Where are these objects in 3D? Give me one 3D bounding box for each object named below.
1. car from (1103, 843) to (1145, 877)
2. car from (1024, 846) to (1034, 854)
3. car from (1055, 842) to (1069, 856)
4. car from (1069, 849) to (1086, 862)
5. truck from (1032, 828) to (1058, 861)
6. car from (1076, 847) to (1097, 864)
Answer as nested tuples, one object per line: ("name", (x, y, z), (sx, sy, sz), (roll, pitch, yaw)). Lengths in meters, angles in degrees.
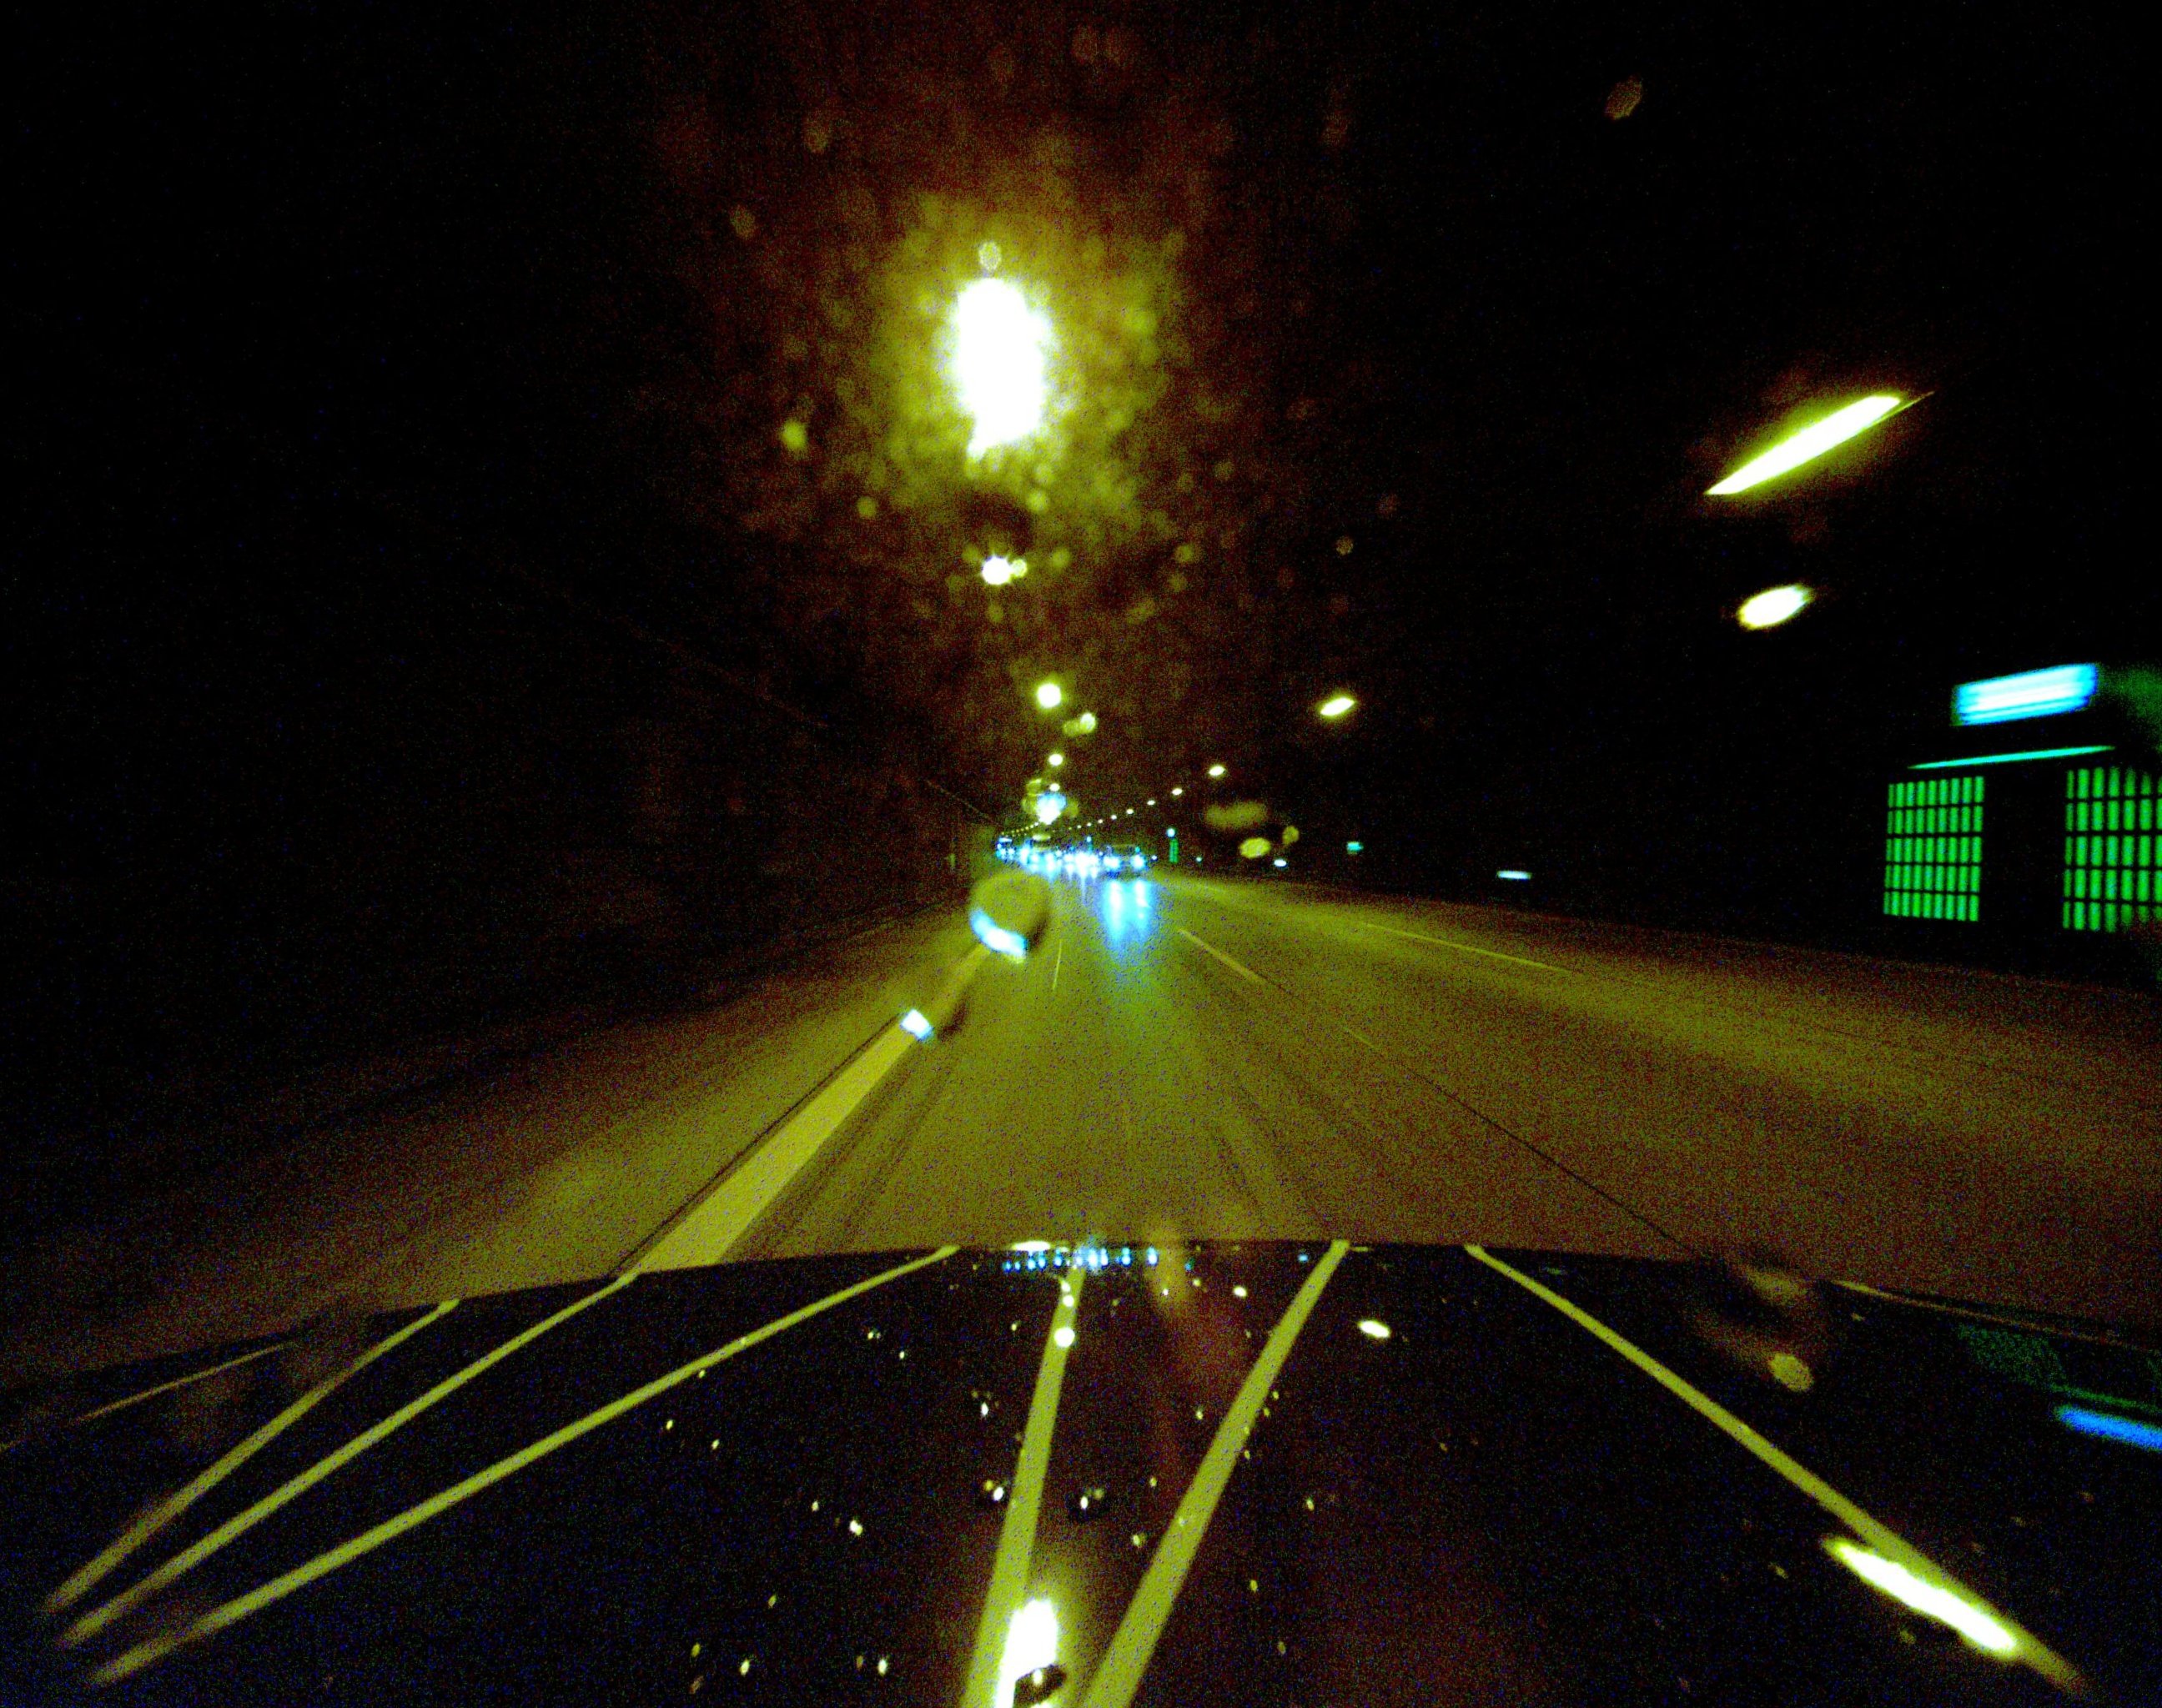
("car", (2.645, 0.384, 47.846), (1.999, 2.001, 4.359), (-1, -1, -5))
("car", (-11.442, -0.835, 166.526), (1.999, 1.729, 3.997), (-1, 1, -5))
("car", (-3.121, -0.861, 122.102), (1.999, 2.003, 3.996), (-1, 2, -5))
("car", (-0.488, 0.145, 92.908), (1.759, 1.567, 3.998), (-1, 0, -4))
("truck", (-4.841, -1.309, 100.443), (3.143, 4.137, 7.382), (-1, 2, -5))
("car", (0.533, 0.099, 76.644), (1.910, 1.637, 3.999), (-1, 0, -1))
